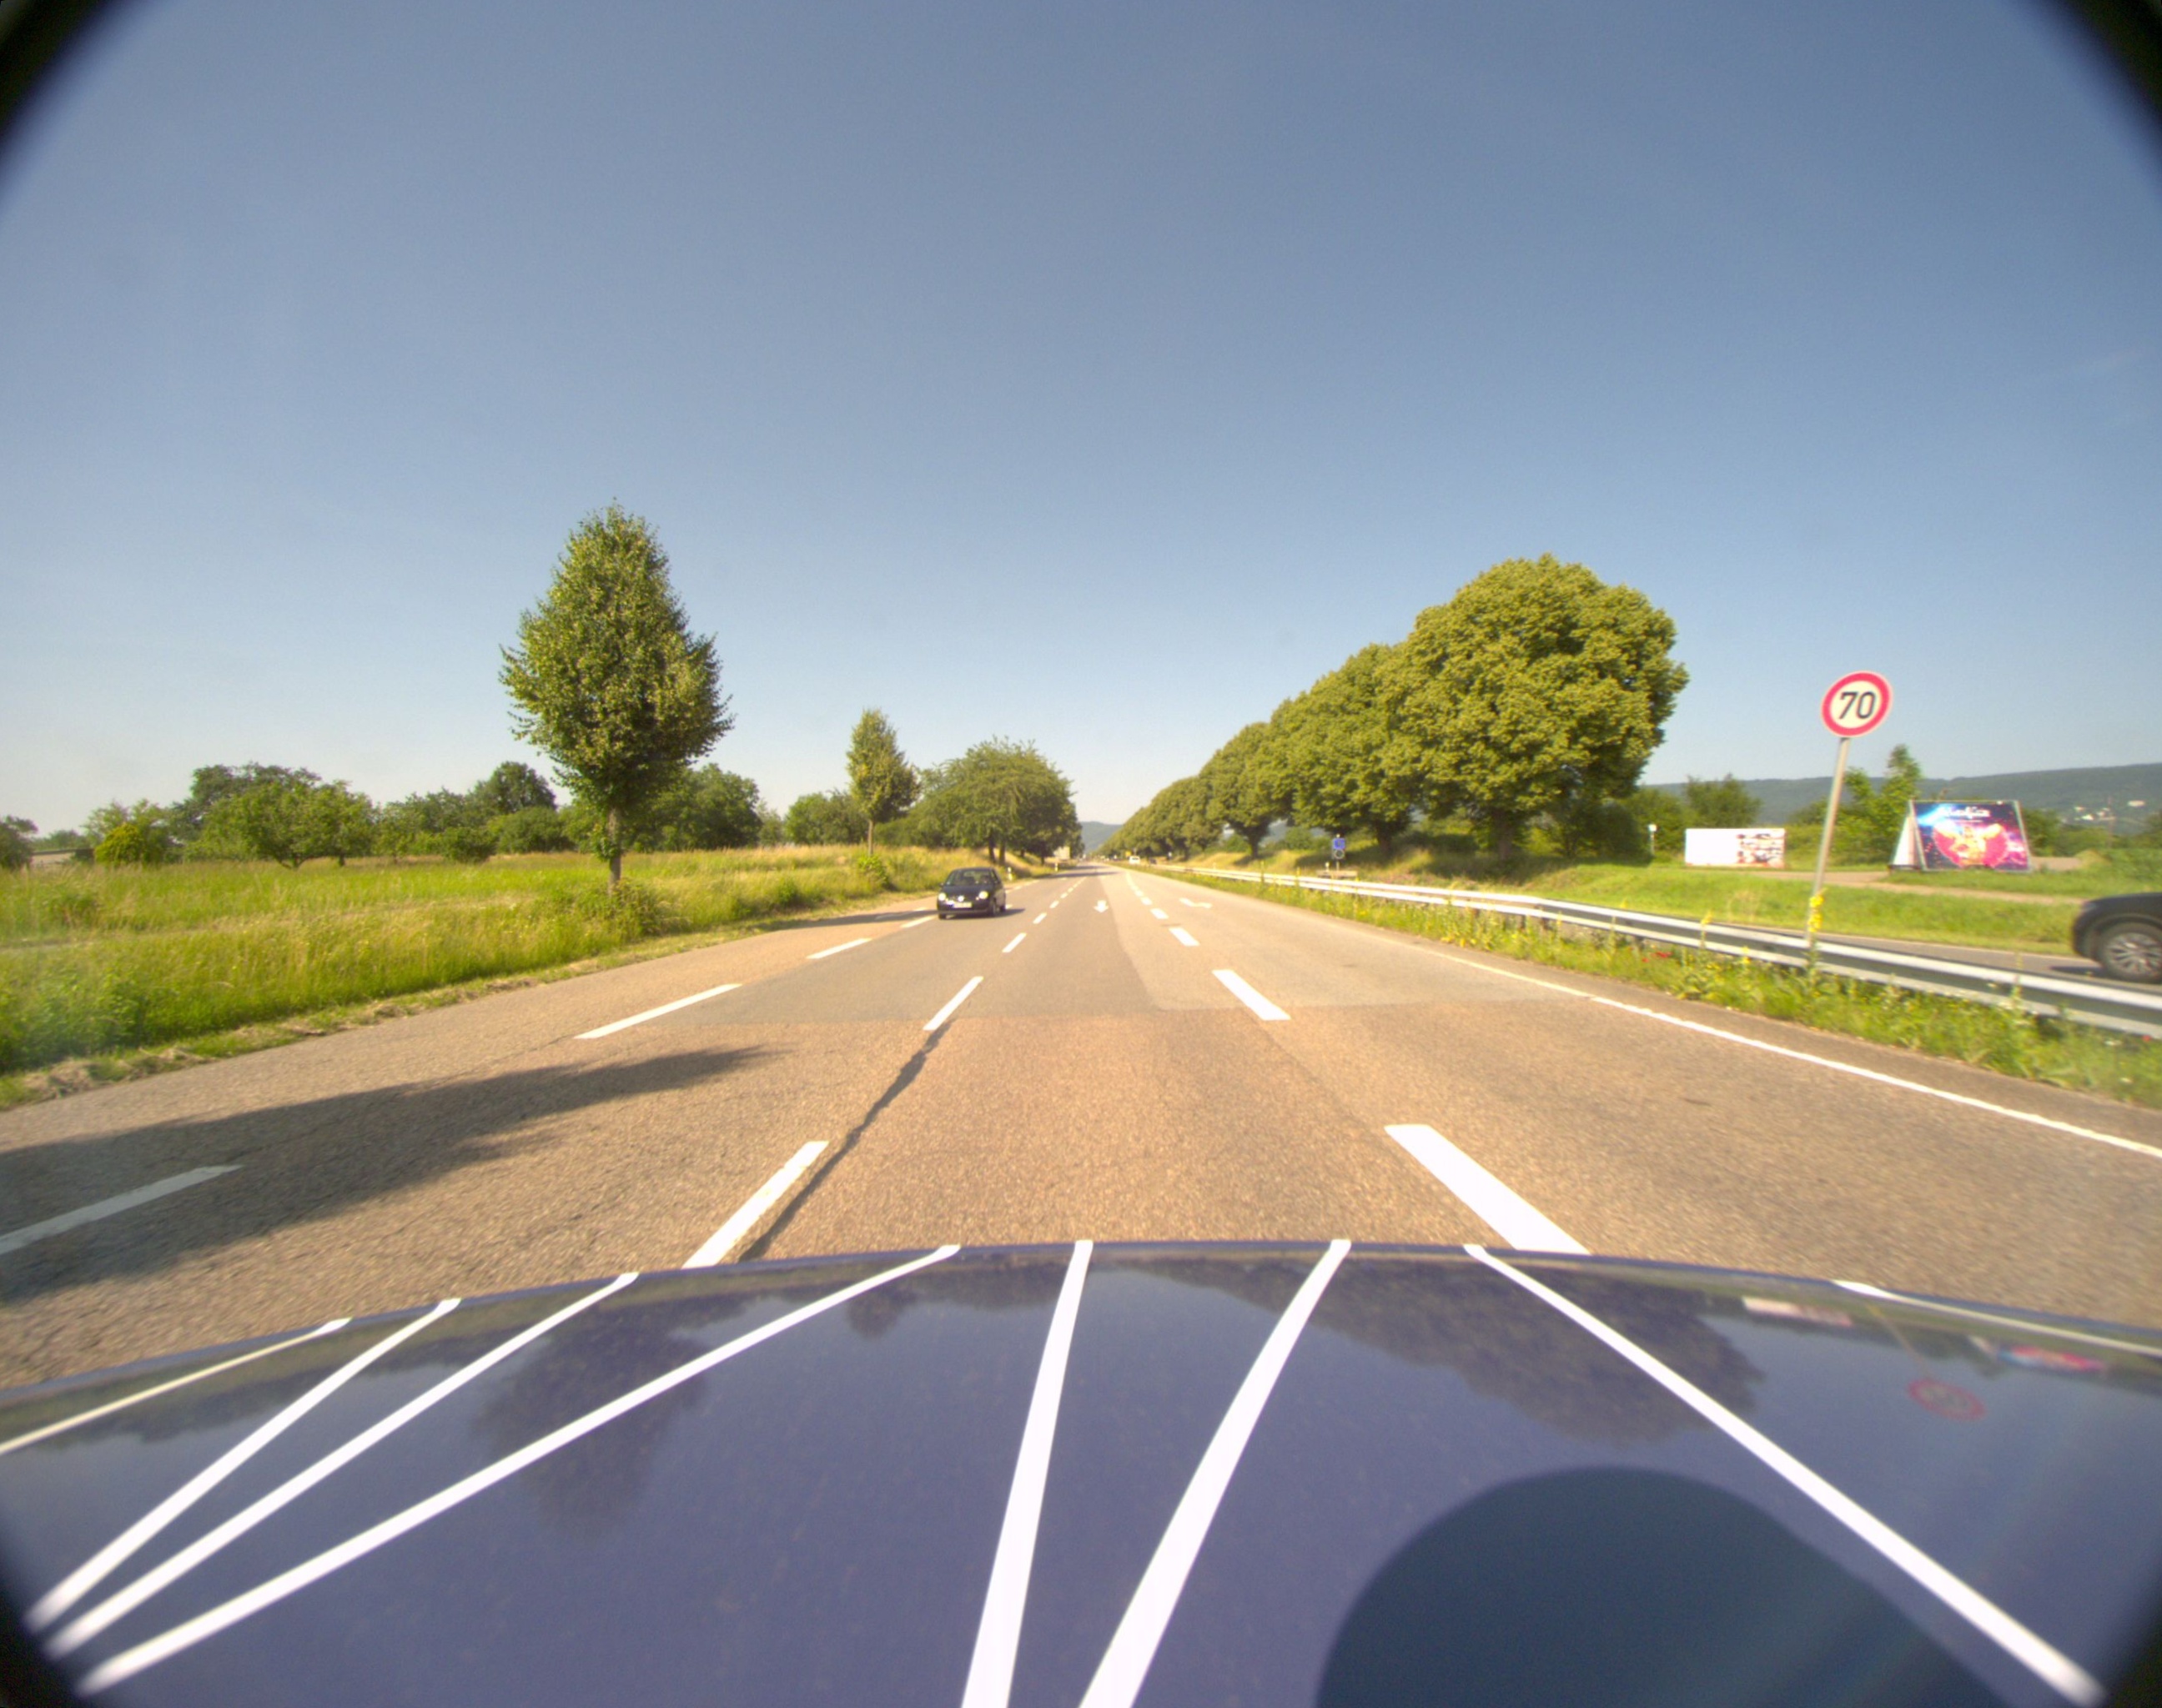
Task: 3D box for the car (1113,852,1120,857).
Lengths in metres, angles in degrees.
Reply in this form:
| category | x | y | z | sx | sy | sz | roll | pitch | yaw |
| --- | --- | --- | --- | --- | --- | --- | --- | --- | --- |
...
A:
| category | x | y | z | sx | sy | sz | roll | pitch | yaw |
| --- | --- | --- | --- | --- | --- | --- | --- | --- | --- |
| car | 11.565 | 0.215 | 247.163 | 1.933 | 1.521 | 4.000 | -1 | 0 | 1 |

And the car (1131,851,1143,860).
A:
| category | x | y | z | sx | sy | sz | roll | pitch | yaw |
| --- | --- | --- | --- | --- | --- | --- | --- | --- | --- |
| car | 10.698 | 0.279 | 145.045 | 1.998 | 1.791 | 4.000 | -1 | 0 | 1 |

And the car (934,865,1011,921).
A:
| category | x | y | z | sx | sy | sz | roll | pitch | yaw |
| --- | --- | --- | --- | --- | --- | --- | --- | --- | --- |
| car | -3.141 | 1.100 | 22.589 | 1.629 | 1.425 | 3.622 | -2 | 0 | 1 |

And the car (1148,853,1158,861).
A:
| category | x | y | z | sx | sy | sz | roll | pitch | yaw |
| --- | --- | --- | --- | --- | --- | --- | --- | --- | --- |
| car | 14.242 | 0.549 | 150.352 | 1.726 | 1.456 | 3.700 | 1 | 0 | 1 |

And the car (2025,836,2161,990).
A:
| category | x | y | z | sx | sy | sz | roll | pitch | yaw |
| --- | --- | --- | --- | --- | --- | --- | --- | --- | --- |
| car | 13.832 | 0.718 | 7.801 | 1.999 | 1.830 | 4.953 | 1 | 0 | -2 |
